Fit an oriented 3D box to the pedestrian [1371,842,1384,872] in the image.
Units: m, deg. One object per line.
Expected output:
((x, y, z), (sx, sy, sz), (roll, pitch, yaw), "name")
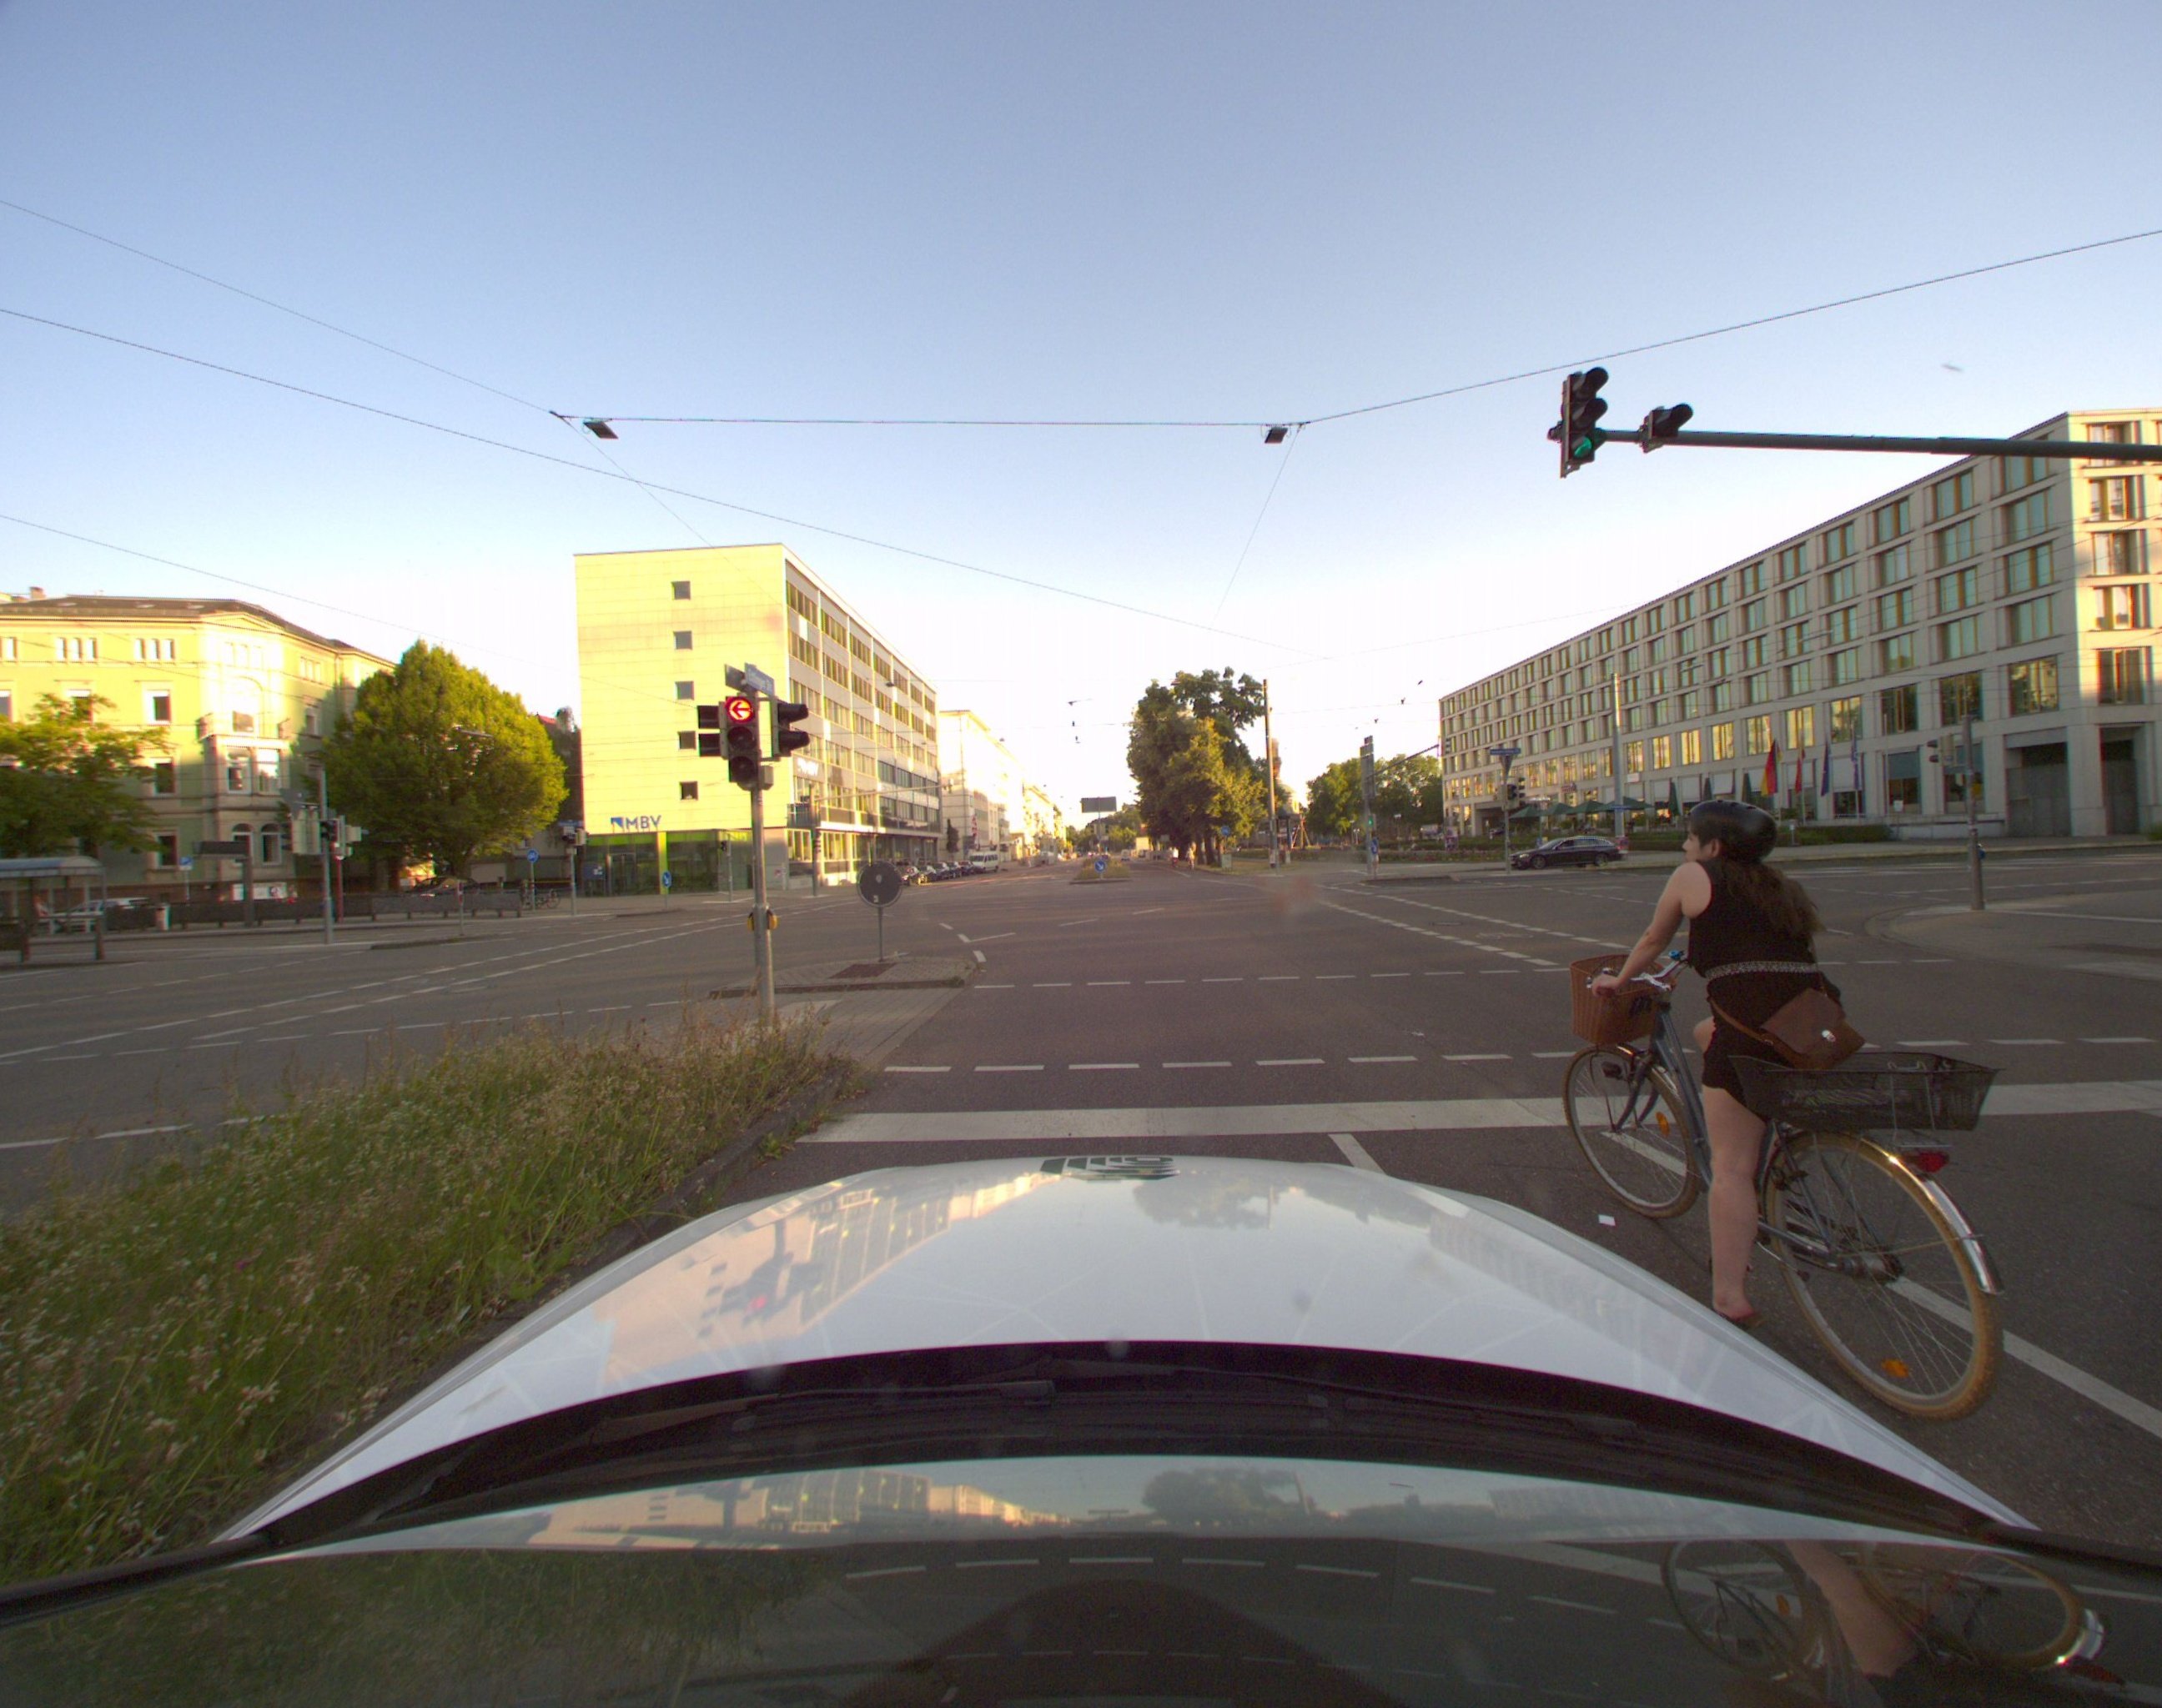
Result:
((15.808, 0.156, 43.385), (0.489, 1.540, 0.408), (-3, 0, 1), "pedestrian")

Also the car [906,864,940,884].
((-13.302, 1.645, 68.923), (1.913, 1.464, 4.002), (-3, 0, 2), "car")

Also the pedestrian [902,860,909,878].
((-16.953, 1.468, 78.765), (0.498, 1.679, 0.500), (-3, 0, 1), "pedestrian")

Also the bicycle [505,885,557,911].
((-26.866, 2.131, 39.848), (0.832, 1.112, 2.216), (-3, 0, 6), "bicycle")

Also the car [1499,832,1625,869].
((23.114, -0.178, 39.265), (4.803, 1.515, 2.002), (-3, 0, 4), "car")

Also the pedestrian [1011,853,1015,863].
((-13.881, 0.811, 165.471), (0.677, 2.013, 0.545), (-3, 0, 1), "pedestrian")

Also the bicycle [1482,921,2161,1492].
((2.186, 0.887, 2.861), (0.609, 1.132, 2.005), (-1, 0, 2), "bicycle")

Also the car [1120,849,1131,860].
((6.969, 0.075, 128.011), (1.403, 1.641, 4.000), (-3, 0, 1), "car")

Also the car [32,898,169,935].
((-45.257, 2.845, 37.680), (3.588, 1.372, 1.833), (-3, 0, -15), "car")

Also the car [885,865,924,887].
((-13.500, 1.659, 62.392), (1.913, 1.464, 4.105), (-3, 0, 2), "car")

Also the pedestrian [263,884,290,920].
((-41.646, 2.489, 42.159), (0.641, 1.790, 0.720), (-3, 0, -12), "pedestrian")

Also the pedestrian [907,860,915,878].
((-16.366, 1.417, 78.428), (0.549, 1.679, 0.500), (-3, 0, 1), "pedestrian")

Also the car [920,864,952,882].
((-13.094, 1.683, 73.736), (1.913, 1.464, 4.002), (-3, 0, 2), "car")

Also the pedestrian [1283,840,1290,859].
((17.787, -0.402, 70.490), (0.458, 1.656, 0.567), (-3, 0, 1), "pedestrian")

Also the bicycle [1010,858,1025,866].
((-9.988, 1.308, 127.539), (2.198, 1.112, 0.689), (-3, 0, 0), "bicycle")

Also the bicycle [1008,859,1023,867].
((-10.073, 1.321, 125.902), (2.198, 1.112, 0.619), (-3, 0, 0), "bicycle")

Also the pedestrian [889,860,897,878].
((-18.098, 1.414, 78.280), (0.549, 1.679, 0.500), (-3, 0, 1), "pedestrian")

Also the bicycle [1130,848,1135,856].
((13.067, -0.447, 207.433), (0.997, 2.013, 4.007), (-2, 0, 6), "bicycle")

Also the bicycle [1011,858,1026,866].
((-9.915, 1.242, 129.346), (2.198, 1.236, 0.839), (-3, 0, 0), "bicycle")

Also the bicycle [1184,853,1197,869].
((8.294, 0.551, 61.760), (0.744, 1.144, 2.506), (-3, 0, 2), "bicycle")

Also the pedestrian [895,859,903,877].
((-17.451, 1.342, 78.241), (0.549, 1.679, 0.500), (-3, 0, 1), "pedestrian")

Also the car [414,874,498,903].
((-34.909, 1.911, 45.631), (1.830, 1.372, 3.594), (-3, 0, 0), "car")

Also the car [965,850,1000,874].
((-11.045, 0.866, 91.695), (1.988, 2.478, 5.888), (-3, 0, 12), "car")

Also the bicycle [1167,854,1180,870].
((7.127, 0.587, 62.971), (0.744, 1.144, 2.506), (-3, 0, 2), "bicycle")

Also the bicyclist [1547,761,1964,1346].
((2.182, 0.561, 2.791), (0.597, 1.636, 0.999), (-1, 0, 2), "bicyclist")

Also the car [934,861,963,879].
((-12.841, 1.573, 79.037), (1.913, 1.568, 4.002), (-3, 0, 2), "car")

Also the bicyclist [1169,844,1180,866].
((7.225, 0.082, 62.837), (0.744, 1.663, 0.873), (-3, 0, 1), "bicyclist")

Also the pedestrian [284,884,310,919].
((-41.440, 2.503, 43.034), (0.641, 1.790, 0.720), (-3, 0, -12), "pedestrian")

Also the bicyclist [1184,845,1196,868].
((8.272, 0.155, 61.767), (0.744, 1.691, 0.799), (-3, 0, 1), "bicyclist")

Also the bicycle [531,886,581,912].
((-25.637, 2.164, 39.821), (0.832, 1.112, 2.216), (-3, 0, 6), "bicycle")

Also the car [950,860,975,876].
((-12.373, 1.445, 85.260), (1.913, 1.568, 4.002), (-3, 0, 2), "car")
